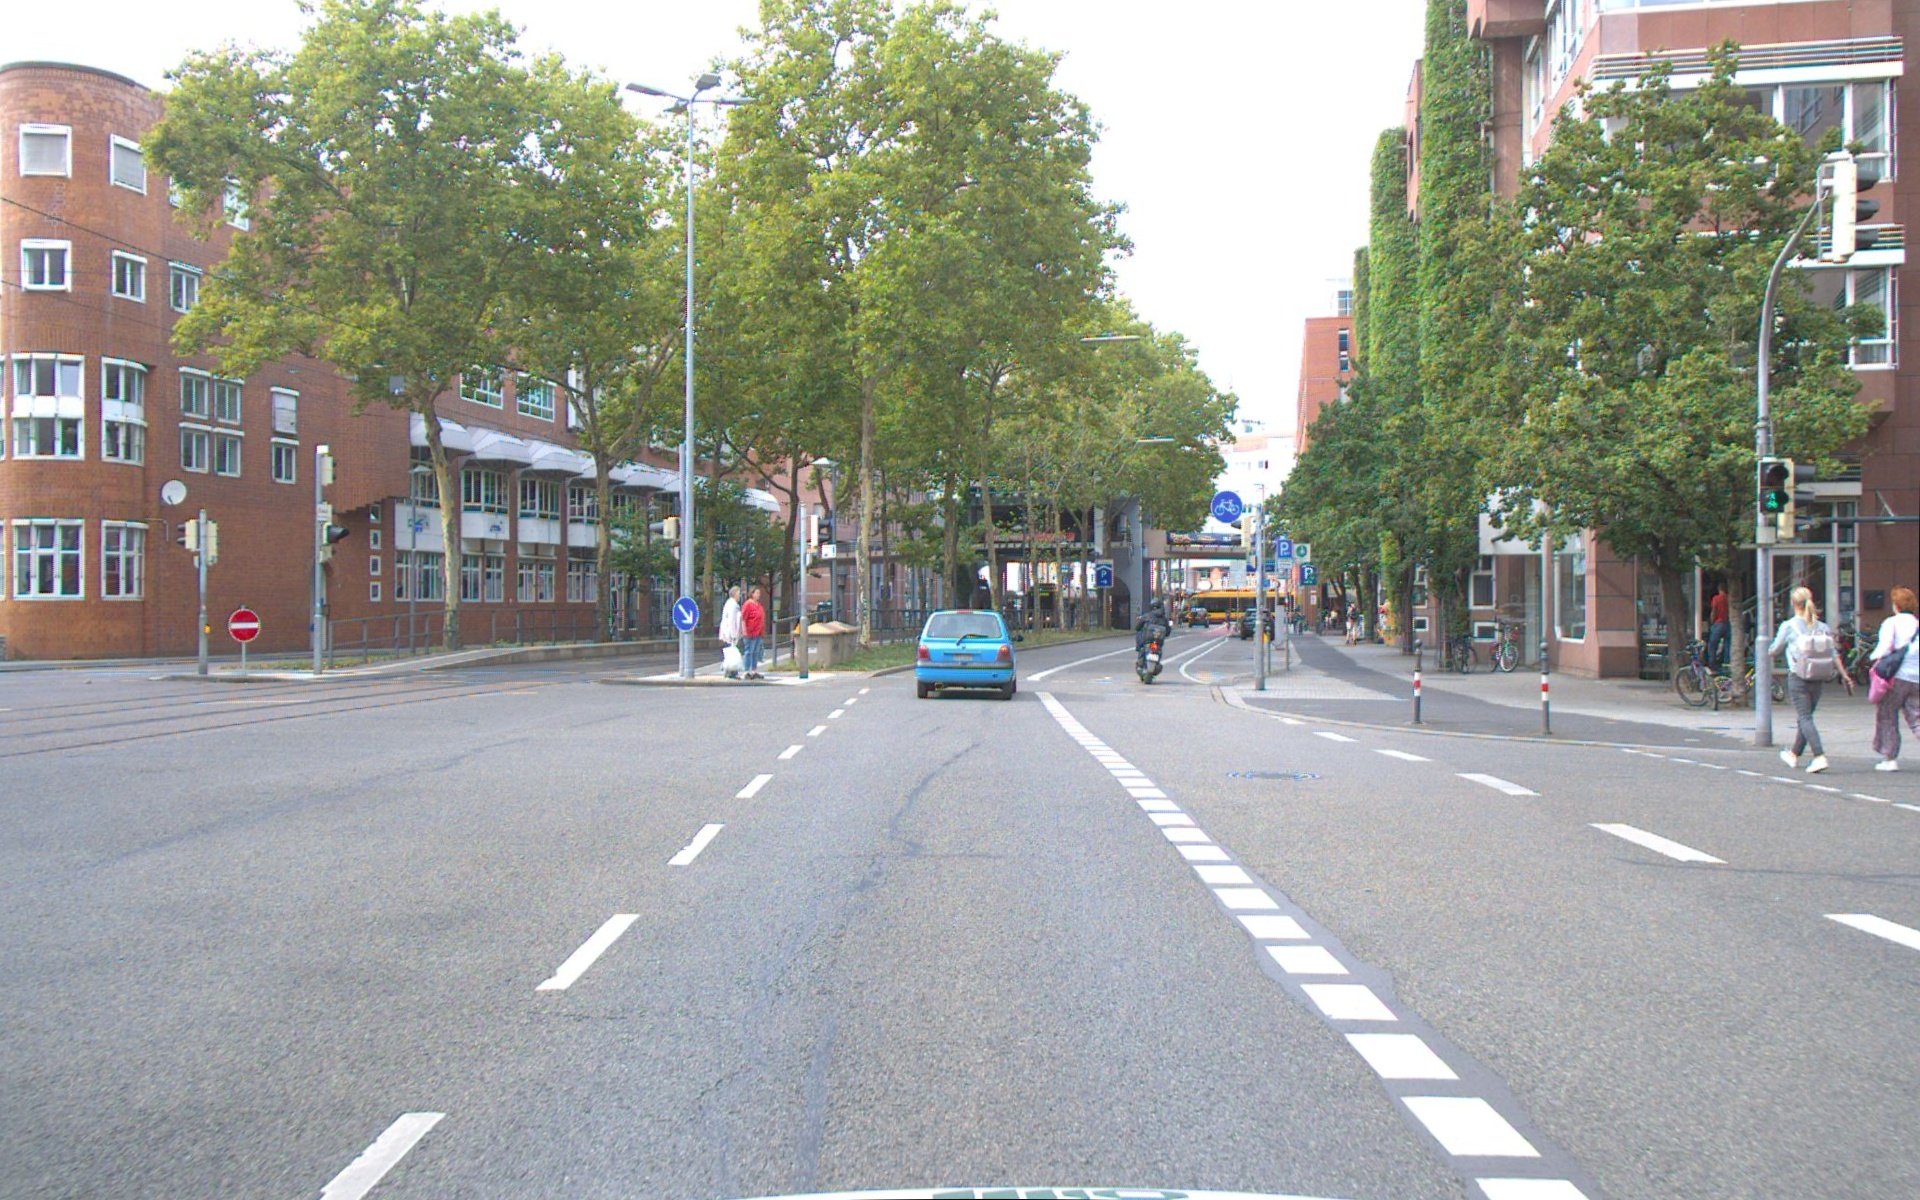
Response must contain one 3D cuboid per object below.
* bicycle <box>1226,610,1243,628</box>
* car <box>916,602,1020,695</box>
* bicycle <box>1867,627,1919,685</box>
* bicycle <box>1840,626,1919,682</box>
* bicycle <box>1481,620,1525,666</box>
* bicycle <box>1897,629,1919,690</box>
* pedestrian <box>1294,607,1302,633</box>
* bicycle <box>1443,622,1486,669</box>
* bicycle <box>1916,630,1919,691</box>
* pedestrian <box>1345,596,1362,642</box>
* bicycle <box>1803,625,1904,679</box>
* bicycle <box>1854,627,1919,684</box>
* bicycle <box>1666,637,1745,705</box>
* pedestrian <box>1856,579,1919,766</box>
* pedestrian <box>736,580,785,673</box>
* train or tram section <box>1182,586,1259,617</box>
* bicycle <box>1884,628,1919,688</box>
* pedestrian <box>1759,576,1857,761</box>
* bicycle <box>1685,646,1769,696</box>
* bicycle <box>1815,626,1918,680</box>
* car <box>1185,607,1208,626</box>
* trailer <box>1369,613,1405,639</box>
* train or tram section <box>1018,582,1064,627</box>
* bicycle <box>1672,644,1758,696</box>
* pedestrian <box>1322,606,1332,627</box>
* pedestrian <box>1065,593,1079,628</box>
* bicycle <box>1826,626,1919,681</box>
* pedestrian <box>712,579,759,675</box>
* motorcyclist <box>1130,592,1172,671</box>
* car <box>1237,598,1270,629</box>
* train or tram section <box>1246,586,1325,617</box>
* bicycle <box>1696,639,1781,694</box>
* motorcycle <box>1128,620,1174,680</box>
[{"bbox_3d":[16.804,1.161,101.222,0.552,1.026,2.007,0,0,-4],"label":"bicycle"},{"bbox_3d":[0.174,0.756,27.549,1.606,1.410,3.844,0,0,2],"label":"car"},{"bbox_3d":[17.352,1.009,29.831,1.693,1.026,0.425,0,0,7],"label":"bicycle"},{"bbox_3d":[17.402,1.010,30.849,1.693,1.026,0.472,0,0,7],"label":"bicycle"},{"bbox_3d":[12.632,0.986,38.506,0.604,1.026,1.736,0,0,5],"label":"bicycle"},{"bbox_3d":[17.125,1.020,28.442,1.693,1.026,0.547,0,0,7],"label":"bicycle"},{"bbox_3d":[22.682,1.344,110.878,0.499,1.790,0.539,-1,-1,11],"label":"pedestrian"},{"bbox_3d":[11.673,1.039,38.284,0.604,1.026,1.736,0,0,5],"label":"bicycle"},{"bbox_3d":[17.105,1.022,27.832,1.693,1.026,0.547,0,0,7],"label":"bicycle"},{"bbox_3d":[16.311,0.789,68.615,0.633,1.891,0.783,0,0,10],"label":"pedestrian"},{"bbox_3d":[17.471,1.010,32.359,1.693,1.026,0.472,0,0,7],"label":"bicycle"},{"bbox_3d":[17.377,1.010,30.321,1.693,1.026,0.479,0,0,7],"label":"bicycle"},{"bbox_3d":[11.981,1.121,26.637,0.604,1.026,1.736,0,0,4],"label":"bicycle"},{"bbox_3d":[8.573,0.639,14.994,0.506,1.644,0.851,0,0,6],"label":"pedestrian"},{"bbox_3d":[-3.810,0.509,31.618,0.542,1.748,0.890,0,0,26],"label":"pedestrian"},{"bbox_3d":[27.760,0.159,176.084,8.708,3.311,2.369,0,-1,-33],"label":"train or tram section"},{"bbox_3d":[17.228,1.015,29.027,1.693,1.026,0.547,0,0,7],"label":"bicycle"},{"bbox_3d":[7.763,0.612,15.161,0.506,1.644,0.851,0,0,5],"label":"pedestrian"},{"bbox_3d":[13.156,1.213,28.400,1.272,0.828,0.444,0,0,22],"label":"bicycle"},{"bbox_3d":[17.453,1.014,31.867,1.693,1.026,0.431,0,0,7],"label":"bicycle"},{"bbox_3d":[21.701,1.503,151.454,1.846,1.652,4.003,0,0,12],"label":"car"},{"bbox_3d":[18.122,1.106,70.196,0.974,1.077,1.603,0,0,35],"label":"trailer"},{"bbox_3d":[6.316,0.376,127.313,2.338,3.311,8.825,-1,0,10],"label":"train or tram section"},{"bbox_3d":[12.735,1.173,27.917,1.271,0.852,0.454,0,0,18],"label":"bicycle"},{"bbox_3d":[27.563,1.253,124.286,0.655,1.589,0.729,0,0,7],"label":"pedestrian"},{"bbox_3d":[6.257,0.584,92.360,0.712,1.891,0.871,0,0,12],"label":"pedestrian"},{"bbox_3d":[17.414,1.011,31.366,1.693,1.026,0.438,0,0,7],"label":"bicycle"},{"bbox_3d":[-4.160,0.498,30.726,0.541,1.748,0.891,0,0,17],"label":"pedestrian"},{"bbox_3d":[3.789,0.625,32.914,0.743,1.546,1.018,-1,-1,3],"label":"motorcyclist"},{"bbox_3d":[15.787,0.695,88.882,1.662,1.629,4.003,0,0,12],"label":"car"},{"bbox_3d":[35.339,0.122,179.684,8.193,3.311,2.387,0,-1,-15],"label":"train or tram section"},{"bbox_3d":[13.504,1.156,28.727,1.272,0.883,0.454,-3,-1,22],"label":"bicycle"},{"bbox_3d":[3.790,0.974,32.987,0.751,1.126,2.209,-1,0,3],"label":"motorcycle"}]
